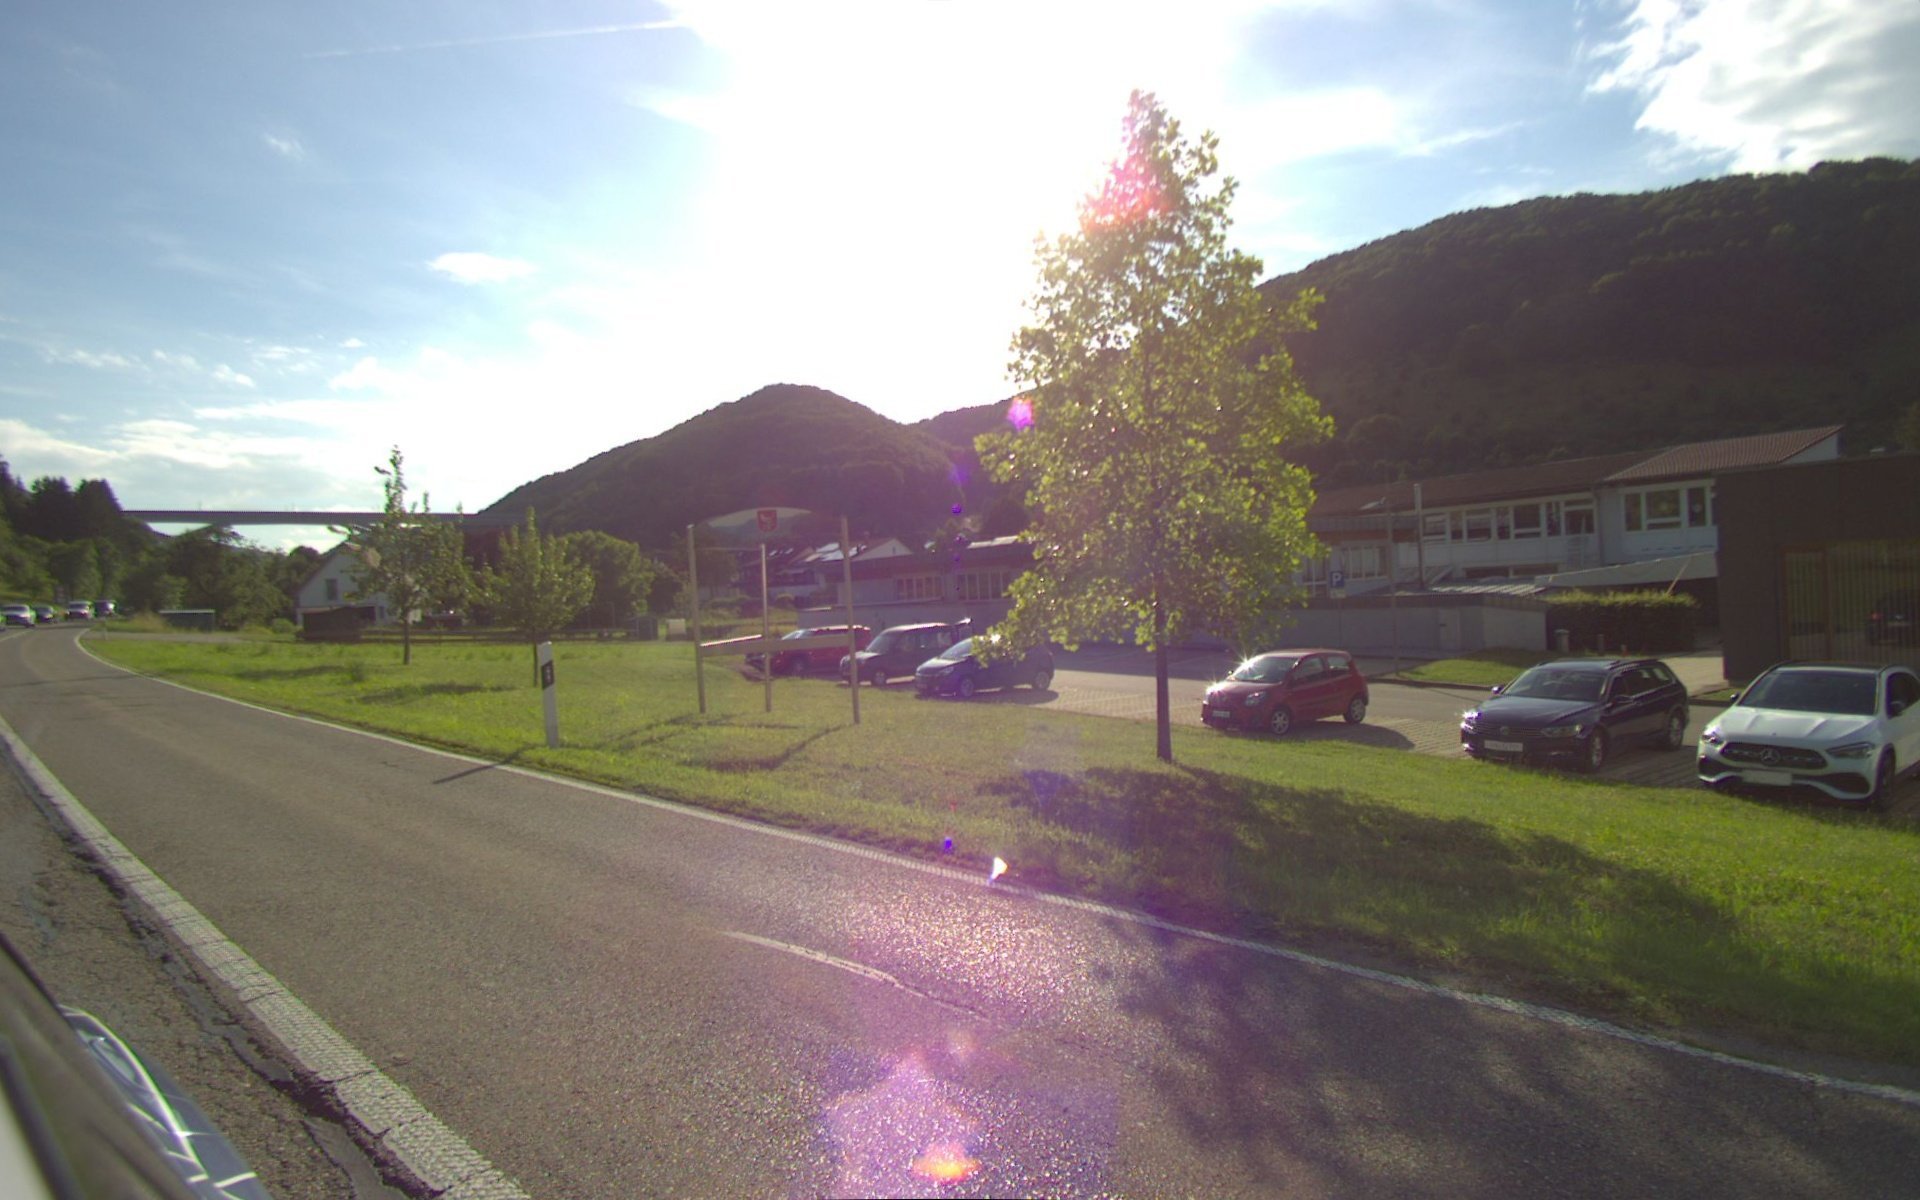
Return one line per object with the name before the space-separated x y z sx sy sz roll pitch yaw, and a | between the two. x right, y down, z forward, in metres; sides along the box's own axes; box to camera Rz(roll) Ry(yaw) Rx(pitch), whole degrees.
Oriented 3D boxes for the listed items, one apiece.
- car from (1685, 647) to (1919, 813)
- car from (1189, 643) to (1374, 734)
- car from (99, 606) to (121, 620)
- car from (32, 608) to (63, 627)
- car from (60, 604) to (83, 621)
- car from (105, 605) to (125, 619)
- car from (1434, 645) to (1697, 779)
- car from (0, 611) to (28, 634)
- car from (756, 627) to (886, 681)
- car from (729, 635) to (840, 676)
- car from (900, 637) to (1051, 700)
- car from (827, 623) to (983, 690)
car | 11.521 1.529 13.289 4.479 1.566 2.005 -1 1 -37
car | 6.332 1.655 19.784 3.672 1.408 1.619 -1 1 -37
car | -91.431 1.400 108.909 1.605 1.490 3.687 -1 1 -38
car | -74.806 1.415 82.976 1.605 1.490 3.687 -1 1 -38
car | -84.999 1.173 96.850 1.606 1.490 3.684 -1 1 -42
car | -99.162 1.394 118.810 1.605 1.490 3.687 -1 1 -38
car | 9.581 1.613 15.898 4.479 1.566 2.005 -1 1 -37
car | -65.760 1.571 70.106 1.607 1.490 3.682 -1 1 -45
car | -5.019 1.909 36.753 4.262 1.681 1.853 -1 1 -33
car | -6.781 2.101 39.259 3.835 1.378 1.857 0 0 -36
car | 0.480 1.833 27.845 3.956 1.463 1.688 -1 -2 -39
car | -1.684 1.733 32.326 4.928 1.807 1.688 -1 1 -39
